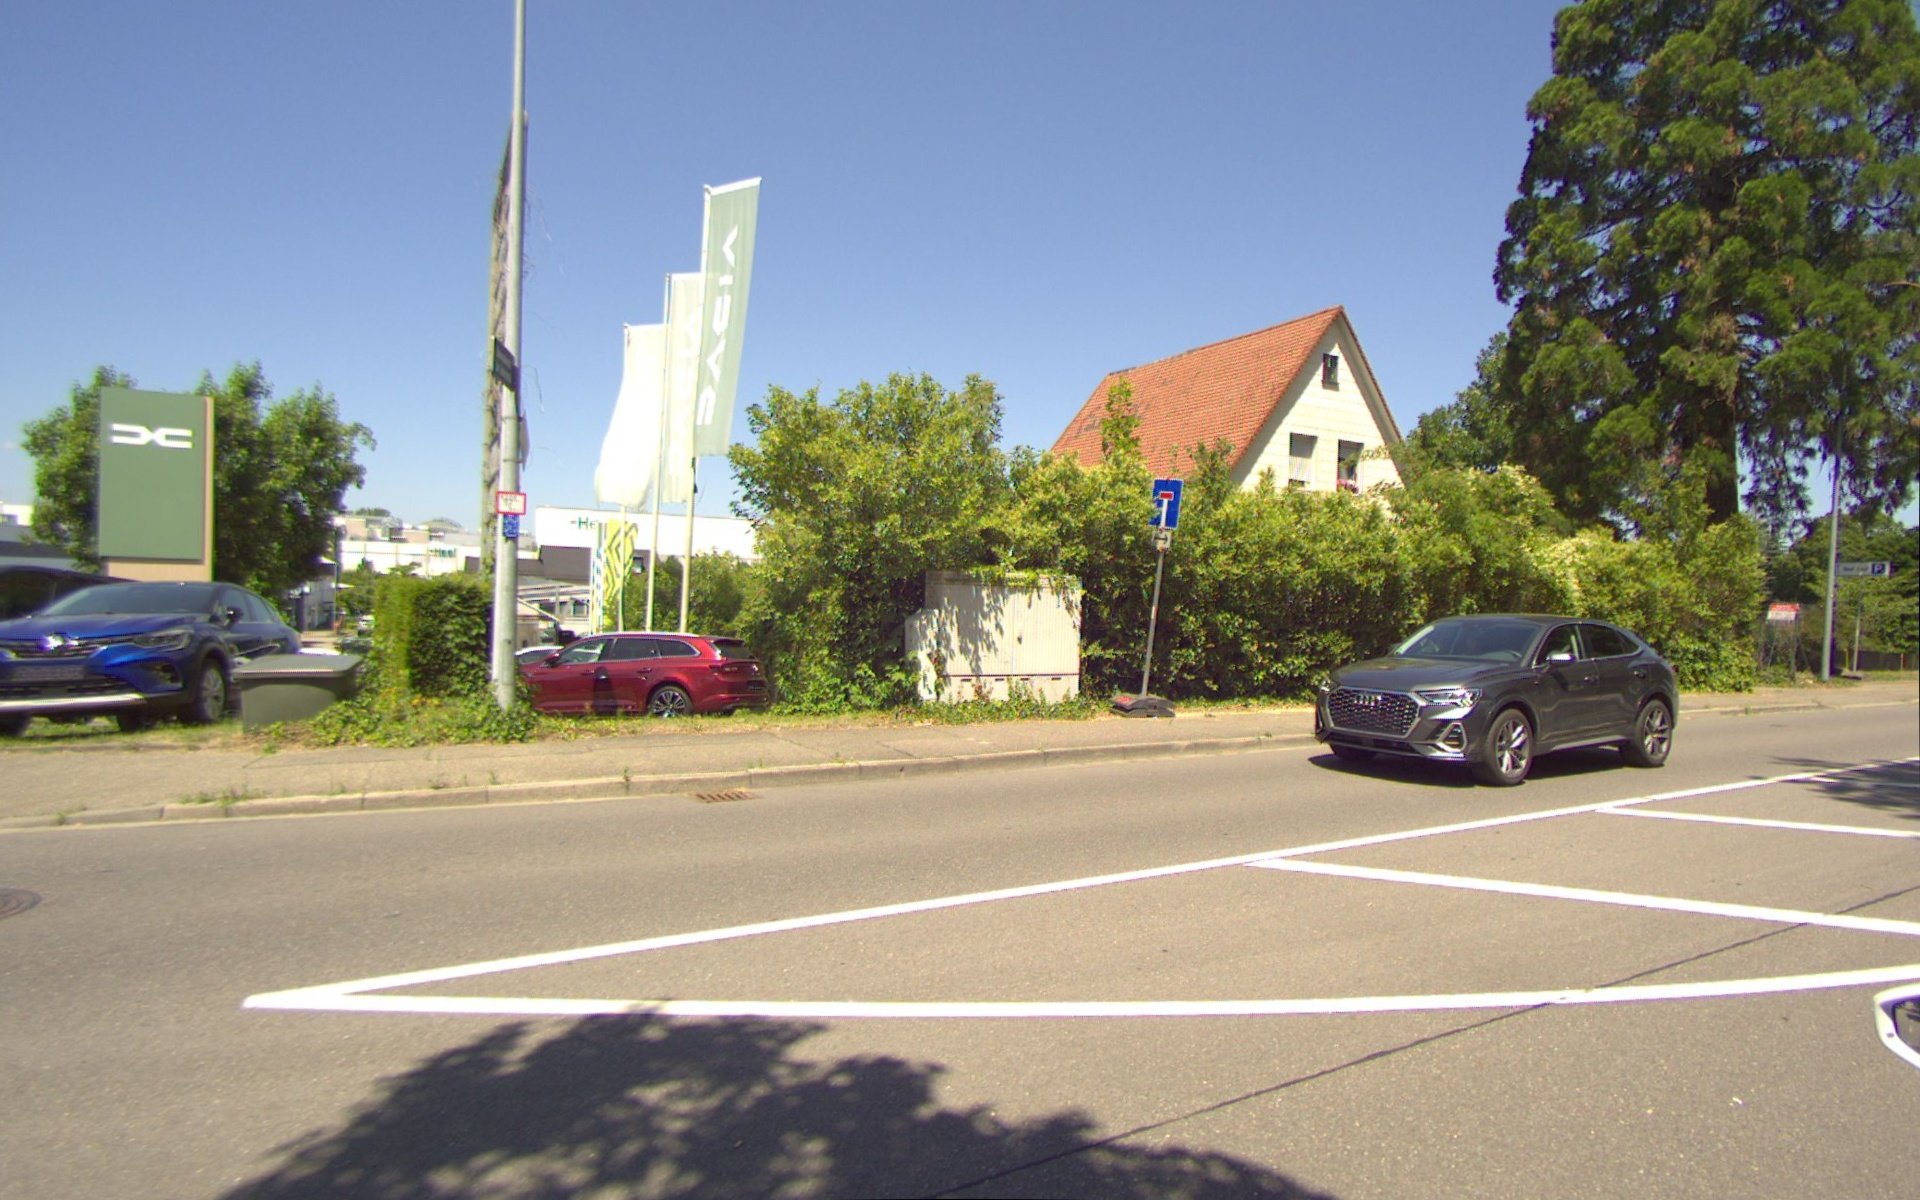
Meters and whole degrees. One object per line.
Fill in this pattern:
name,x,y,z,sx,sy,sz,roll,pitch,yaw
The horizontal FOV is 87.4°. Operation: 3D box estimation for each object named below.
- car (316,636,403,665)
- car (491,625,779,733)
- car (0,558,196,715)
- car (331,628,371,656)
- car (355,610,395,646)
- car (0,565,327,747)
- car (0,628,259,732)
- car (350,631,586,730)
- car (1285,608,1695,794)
car,-33.565,2.847,56.236,3.944,1.506,1.748,1,0,-24
car,-5.103,1.200,15.983,4.012,1.411,1.679,2,0,9
car,-11.655,0.458,11.666,2.022,1.750,4.458,-3,0,1
car,-47.909,3.280,79.135,2.054,2.083,3.978,1,0,-23
car,-52.506,2.458,90.240,2.212,3.030,6.311,1,0,-22
car,-8.223,0.580,10.495,1.749,1.524,4.134,0,-3,-18
car,-15.230,1.411,17.910,4.019,1.744,1.810,2,-3,-13
car,-9.906,1.543,20.323,4.048,1.745,1.797,1,0,-35
car,5.574,0.921,10.450,4.264,1.557,1.785,2,0,-30
